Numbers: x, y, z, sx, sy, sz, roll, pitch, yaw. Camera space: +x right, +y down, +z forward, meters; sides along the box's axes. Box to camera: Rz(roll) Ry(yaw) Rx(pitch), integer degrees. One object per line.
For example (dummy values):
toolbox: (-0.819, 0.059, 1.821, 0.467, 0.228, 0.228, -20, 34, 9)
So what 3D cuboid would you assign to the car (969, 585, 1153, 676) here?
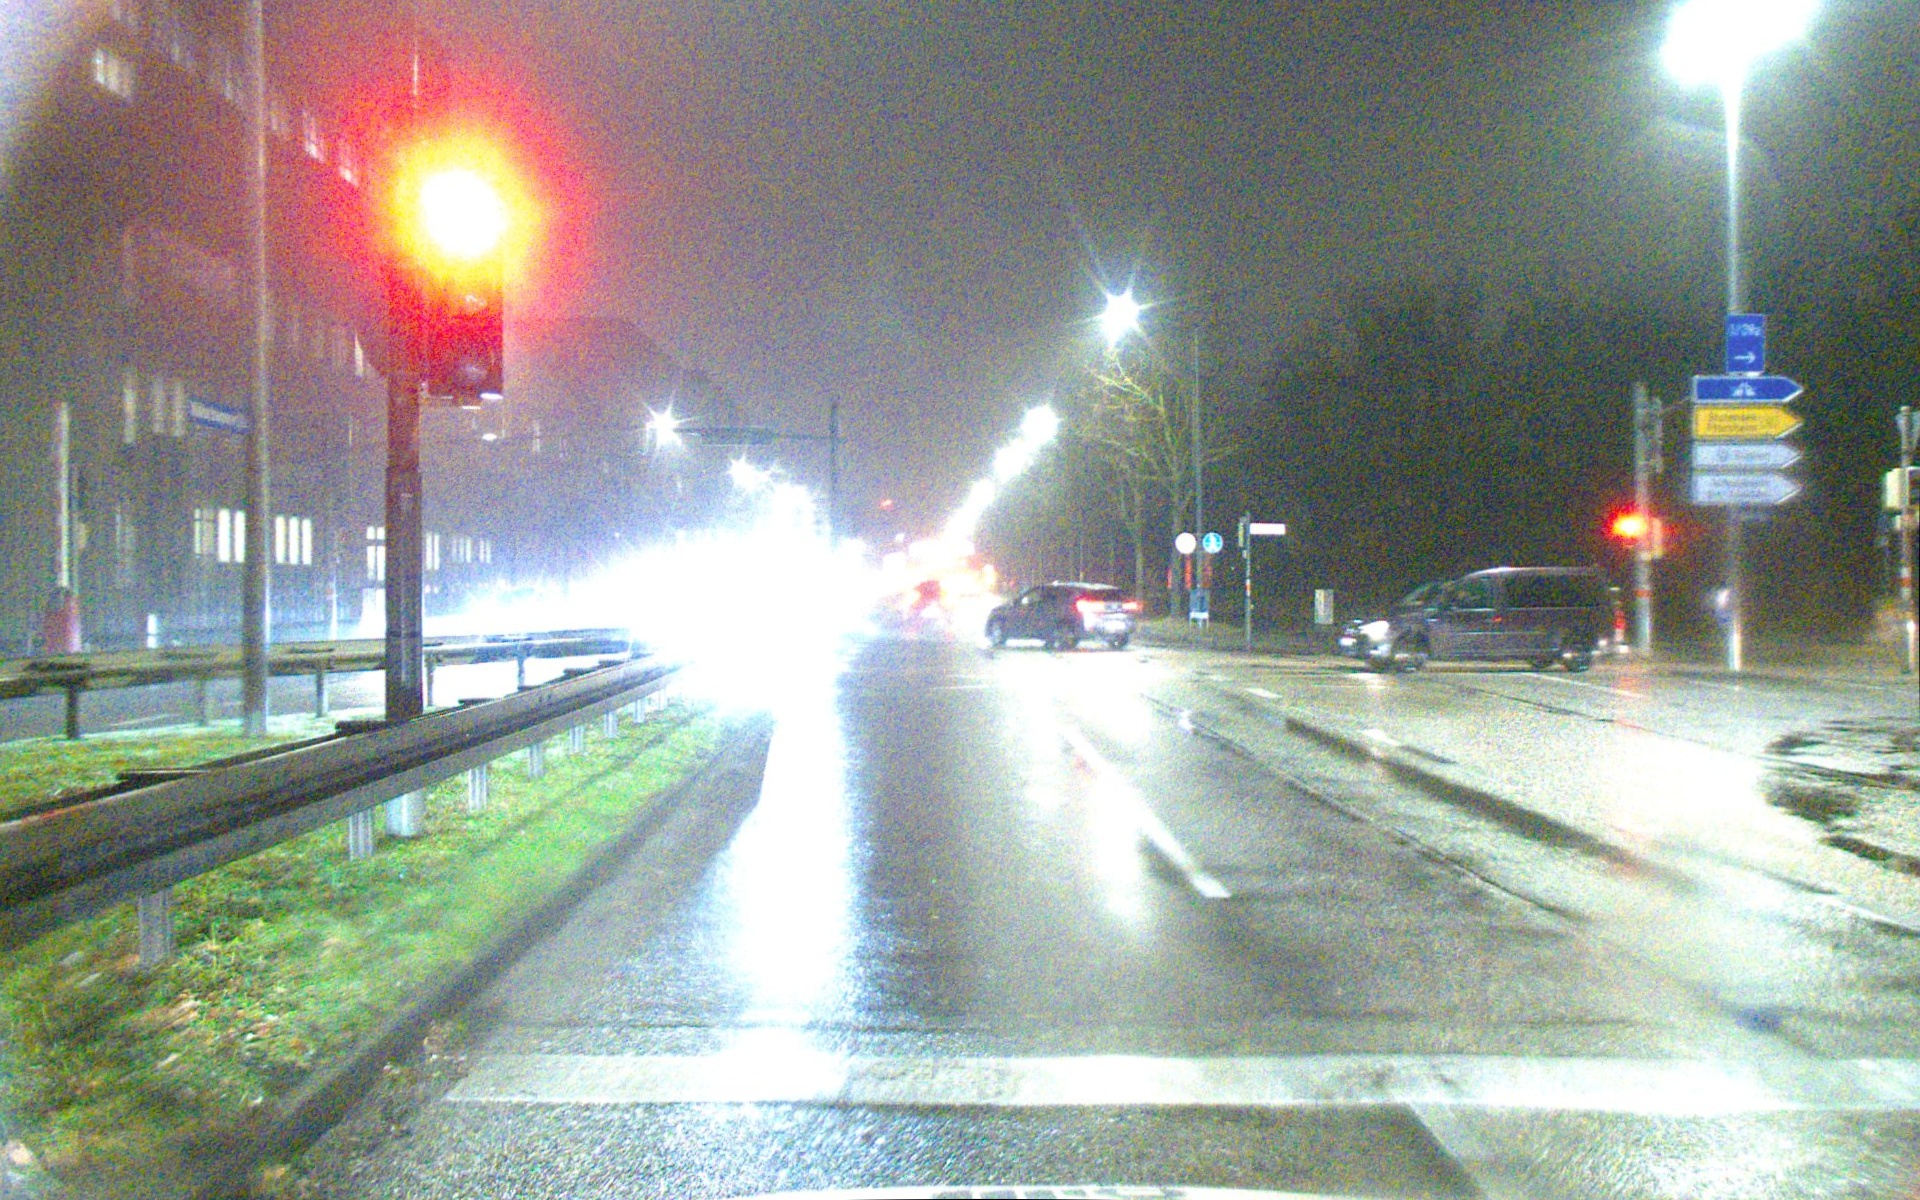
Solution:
car: (2.355, 0.698, 39.683, 1.977, 2.049, 4.574, 1, 0, -36)

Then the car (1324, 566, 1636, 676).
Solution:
car: (8.971, 0.357, 28.782, 4.804, 1.771, 1.970, 1, 0, -3)

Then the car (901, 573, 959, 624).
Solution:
car: (-1.052, -0.046, 58.936, 1.953, 1.735, 4.632, 1, 0, -1)

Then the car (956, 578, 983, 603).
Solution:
car: (0.732, -0.706, 126.608, 1.953, 1.790, 3.999, 1, 0, -1)
